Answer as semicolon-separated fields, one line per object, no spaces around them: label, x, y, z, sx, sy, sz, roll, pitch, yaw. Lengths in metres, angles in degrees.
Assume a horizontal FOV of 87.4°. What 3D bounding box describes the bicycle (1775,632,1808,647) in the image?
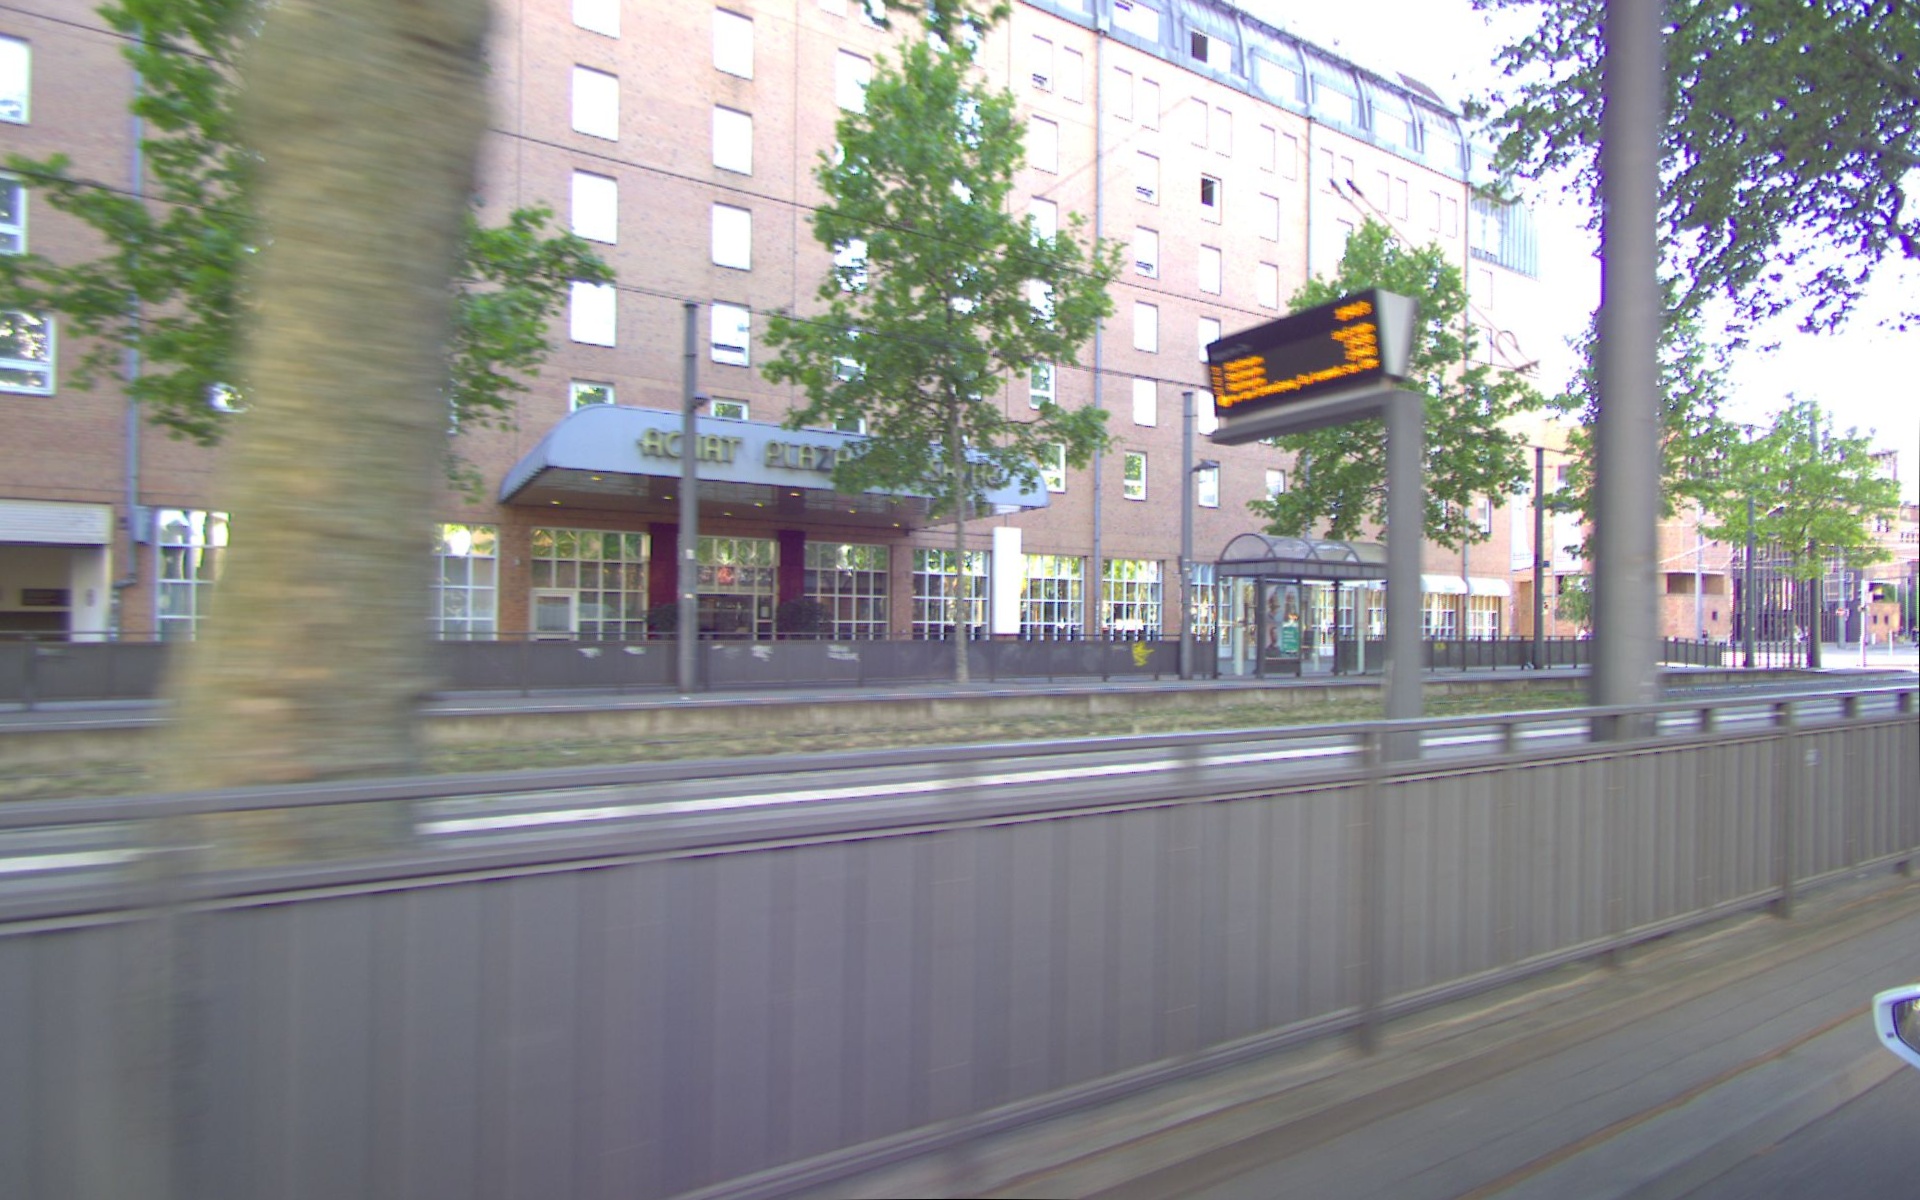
bicycle;68.878;3.299;83.248;2.055;1.255;0.453;0;-1;18

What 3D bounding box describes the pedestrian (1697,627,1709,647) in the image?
pedestrian;61.671;3.071;83.336;0.560;1.635;0.545;0;-1;-2

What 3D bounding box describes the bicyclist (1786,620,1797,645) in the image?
bicyclist;68.915;2.684;83.249;0.551;2.087;0.451;0;-1;18

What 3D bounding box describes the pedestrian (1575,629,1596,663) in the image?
pedestrian;30.220;2.234;48.516;0.718;1.606;0.585;1;1;-35
